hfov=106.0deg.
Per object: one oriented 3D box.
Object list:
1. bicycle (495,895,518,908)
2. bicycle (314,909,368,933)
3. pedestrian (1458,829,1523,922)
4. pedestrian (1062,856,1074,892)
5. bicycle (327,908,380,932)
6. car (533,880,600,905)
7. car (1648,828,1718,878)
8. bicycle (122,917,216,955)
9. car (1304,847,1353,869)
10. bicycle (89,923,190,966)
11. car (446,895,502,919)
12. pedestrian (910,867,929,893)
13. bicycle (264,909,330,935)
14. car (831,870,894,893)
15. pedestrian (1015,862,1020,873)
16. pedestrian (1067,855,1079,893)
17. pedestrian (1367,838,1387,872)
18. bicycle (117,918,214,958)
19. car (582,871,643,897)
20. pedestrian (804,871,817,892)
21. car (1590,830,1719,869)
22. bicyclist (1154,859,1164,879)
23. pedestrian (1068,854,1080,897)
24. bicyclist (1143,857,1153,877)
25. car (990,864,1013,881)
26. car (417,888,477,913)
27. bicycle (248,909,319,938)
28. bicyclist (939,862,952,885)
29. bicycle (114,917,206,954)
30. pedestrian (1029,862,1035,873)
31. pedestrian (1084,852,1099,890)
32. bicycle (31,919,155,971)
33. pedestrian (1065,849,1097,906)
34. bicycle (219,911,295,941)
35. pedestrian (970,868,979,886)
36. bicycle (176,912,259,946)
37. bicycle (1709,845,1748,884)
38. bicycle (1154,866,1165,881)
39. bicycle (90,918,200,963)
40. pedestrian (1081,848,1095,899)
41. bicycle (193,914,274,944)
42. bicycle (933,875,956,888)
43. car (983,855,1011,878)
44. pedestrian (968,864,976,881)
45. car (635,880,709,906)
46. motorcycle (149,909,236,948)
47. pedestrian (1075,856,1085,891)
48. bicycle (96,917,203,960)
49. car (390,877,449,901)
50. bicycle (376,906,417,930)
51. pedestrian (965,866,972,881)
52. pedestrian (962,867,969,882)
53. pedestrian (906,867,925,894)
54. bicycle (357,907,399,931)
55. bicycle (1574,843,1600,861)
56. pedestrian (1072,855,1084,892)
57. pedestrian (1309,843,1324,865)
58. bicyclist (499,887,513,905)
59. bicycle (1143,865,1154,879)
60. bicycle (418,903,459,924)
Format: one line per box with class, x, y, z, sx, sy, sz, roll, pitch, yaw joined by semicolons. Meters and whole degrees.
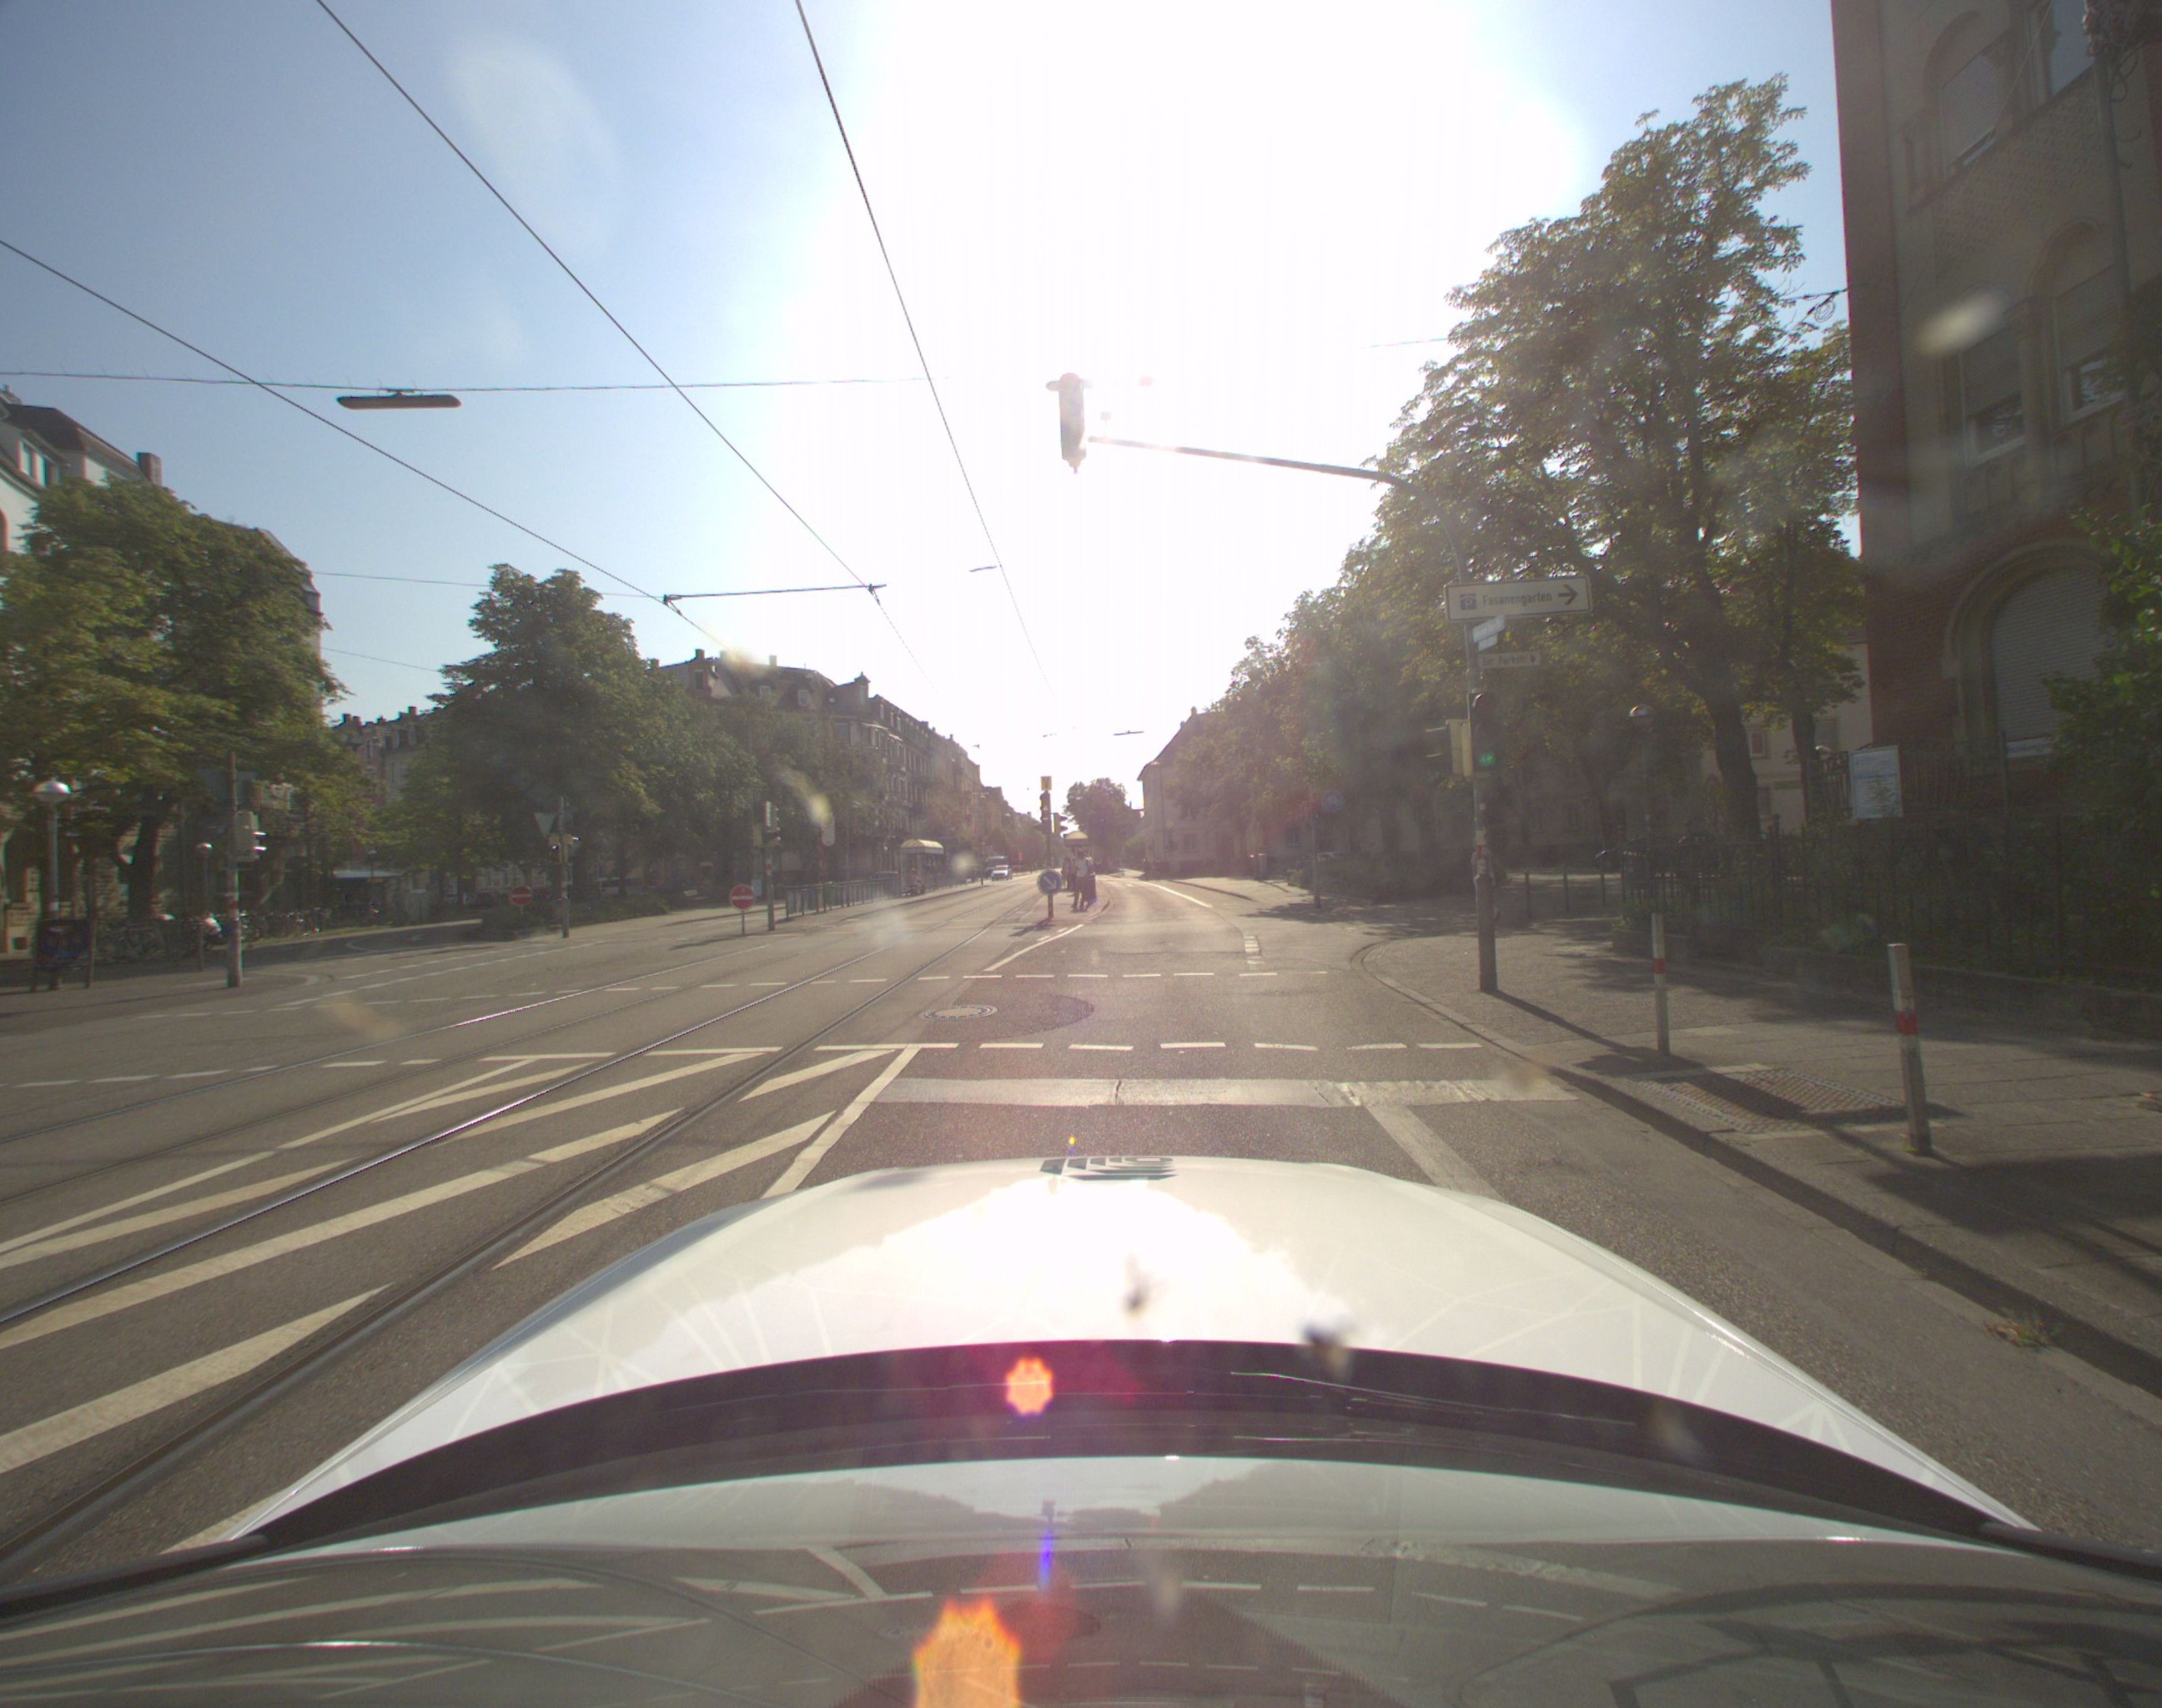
bicycle;-45.555;3.735;64.577;1.833;0.958;0.551;-3;-1;24
bicycle;-34.480;3.105;37.973;1.771;0.978;0.516;-3;-1;-22
pedestrian;7.930;0.406;15.793;0.749;1.731;0.769;-3;-1;-8
pedestrian;-0.658;0.983;40.713;0.530;1.759;0.545;0;2;2
bicycle;-34.600;3.112;38.751;1.772;0.978;0.601;-3;-1;-23
car;-38.058;2.860;60.263;4.284;1.569;2.011;-3;-1;22
car;20.558;-0.063;27.754;1.591;1.515;4.255;-3;0;40
bicycle;-27.676;2.468;24.743;1.814;0.983;0.652;-1;-2;-40
car;17.668;0.320;58.289;1.752;1.428;4.134;-3;0;-8
bicycle;-23.890;2.273;20.688;0.473;0.920;1.619;-3;-2;31
car;-51.579;4.516;69.225;3.952;1.828;2.011;-3;-1;22
pedestrian;-8.576;1.381;43.207;0.826;1.359;0.775;-3;-1;-4
bicycle;-32.588;2.832;33.877;1.877;0.935;0.635;-2;-1;-18
car;-17.219;2.140;64.235;4.358;1.569;1.977;-2;-1;-39
pedestrian;-10.213;2.252;131.453;0.749;1.731;0.769;-3;-1;-8
pedestrian;-0.355;0.955;38.482;0.541;1.759;0.534;0;2;1
pedestrian;15.295;0.049;42.058;0.883;1.740;0.780;-3;-1;20
bicycle;-26.828;2.444;23.897;1.814;0.984;0.563;-1;-2;-40
car;-36.134;2.320;62.805;3.952;1.828;2.011;-3;-1;22
pedestrian;-22.864;2.330;68.755;0.775;1.731;0.744;-2;-1;-38
car;23.732;-0.164;33.792;1.869;1.418;3.954;-2;-1;-38
bicyclist;5.618;1.088;58.789;0.556;1.417;0.871;-3;-1;-1
pedestrian;-0.298;0.898;34.472;0.502;1.759;0.534;0;2;1
bicyclist;5.213;1.004;63.025;0.627;1.507;0.678;-3;-1;-1
car;-8.417;1.949;86.504;1.795;1.653;3.644;-3;-1;2
car;-50.261;3.681;64.554;3.952;1.828;2.011;-3;-1;22
bicycle;-31.823;2.769;32.528;1.908;0.980;0.679;-2;-2;-33
bicyclist;-11.599;1.665;69.564;0.988;1.857;0.490;-3;-1;-14
bicycle;-28.529;2.517;25.267;1.814;0.977;0.652;-1;-2;-40
pedestrian;-8.255;2.259;137.202;0.749;1.731;0.769;-3;-1;-8
pedestrian;0.506;0.803;38.661;0.706;1.759;0.534;0;2;1
bicycle;-24.786;2.253;20.475;0.563;1.113;1.888;-3;-1;22
pedestrian;0.003;0.711;25.498;0.693;1.725;0.753;1;2;34
bicycle;-31.495;2.743;31.163;1.908;0.980;0.679;-2;-2;-33
pedestrian;-10.759;2.349;82.296;0.747;1.731;0.772;-3;-1;3
bicycle;-30.329;2.635;28.626;1.885;1.027;0.657;-2;-2;-33
bicycle;17.722;0.283;22.283;1.779;0.978;0.421;-3;-1;-39
bicycle;5.639;1.389;58.772;0.556;0.978;1.855;-3;0;0
bicycle;-24.928;2.290;21.719;0.562;1.003;1.890;-3;-2;37
pedestrian;0.253;0.702;29.762;0.502;1.834;0.534;0;2;1
bicycle;-30.908;2.725;29.754;1.919;0.935;0.730;-2;-2;-33
bicycle;-11.657;2.331;69.526;1.939;0.978;0.494;-3;-1;-14
car;-10.435;1.521;101.686;2.336;2.662;5.111;-3;-1;5
pedestrian;-11.384;1.981;85.082;0.749;1.731;0.769;-3;-1;-8
car;-28.879;2.717;57.635;4.334;1.569;1.988;-3;-1;-18
motorcycle;-30.041;2.514;27.573;1.882;1.154;0.601;-2;-2;-33
pedestrian;-0.035;0.976;41.286;0.502;1.759;0.534;0;2;1
bicycle;-25.978;2.343;22.756;1.887;1.034;0.563;-1;-2;-38
car;-58.093;3.070;71.537;3.959;1.828;2.007;-3;-1;13
bicycle;-32.988;3.073;39.261;0.423;0.978;1.770;-3;0;1
pedestrian;-13.489;2.373;97.245;0.749;1.731;0.769;-3;-1;-8
pedestrian;-13.379;2.355;94.383;0.749;1.731;0.769;-3;-1;-8
pedestrian;-8.572;1.369;42.230;0.826;1.359;0.775;-3;-1;-4
bicycle;-33.367;3.077;38.678;0.423;0.978;1.770;-3;0;1
bicycle;28.615;-0.129;46.113;0.423;0.978;1.554;-3;0;-2
pedestrian;-0.128;0.951;39.288;0.541;1.759;0.534;0;2;1
pedestrian;19.812;0.002;68.424;0.882;1.740;0.781;-3;-1;43
bicyclist;-45.602;3.334;64.600;0.811;1.328;0.551;-3;-1;24
bicycle;5.225;1.377;63.023;0.627;0.978;1.769;-3;0;-1
bicycle;-33.580;3.127;42.584;1.754;0.978;0.606;-3;-1;8
